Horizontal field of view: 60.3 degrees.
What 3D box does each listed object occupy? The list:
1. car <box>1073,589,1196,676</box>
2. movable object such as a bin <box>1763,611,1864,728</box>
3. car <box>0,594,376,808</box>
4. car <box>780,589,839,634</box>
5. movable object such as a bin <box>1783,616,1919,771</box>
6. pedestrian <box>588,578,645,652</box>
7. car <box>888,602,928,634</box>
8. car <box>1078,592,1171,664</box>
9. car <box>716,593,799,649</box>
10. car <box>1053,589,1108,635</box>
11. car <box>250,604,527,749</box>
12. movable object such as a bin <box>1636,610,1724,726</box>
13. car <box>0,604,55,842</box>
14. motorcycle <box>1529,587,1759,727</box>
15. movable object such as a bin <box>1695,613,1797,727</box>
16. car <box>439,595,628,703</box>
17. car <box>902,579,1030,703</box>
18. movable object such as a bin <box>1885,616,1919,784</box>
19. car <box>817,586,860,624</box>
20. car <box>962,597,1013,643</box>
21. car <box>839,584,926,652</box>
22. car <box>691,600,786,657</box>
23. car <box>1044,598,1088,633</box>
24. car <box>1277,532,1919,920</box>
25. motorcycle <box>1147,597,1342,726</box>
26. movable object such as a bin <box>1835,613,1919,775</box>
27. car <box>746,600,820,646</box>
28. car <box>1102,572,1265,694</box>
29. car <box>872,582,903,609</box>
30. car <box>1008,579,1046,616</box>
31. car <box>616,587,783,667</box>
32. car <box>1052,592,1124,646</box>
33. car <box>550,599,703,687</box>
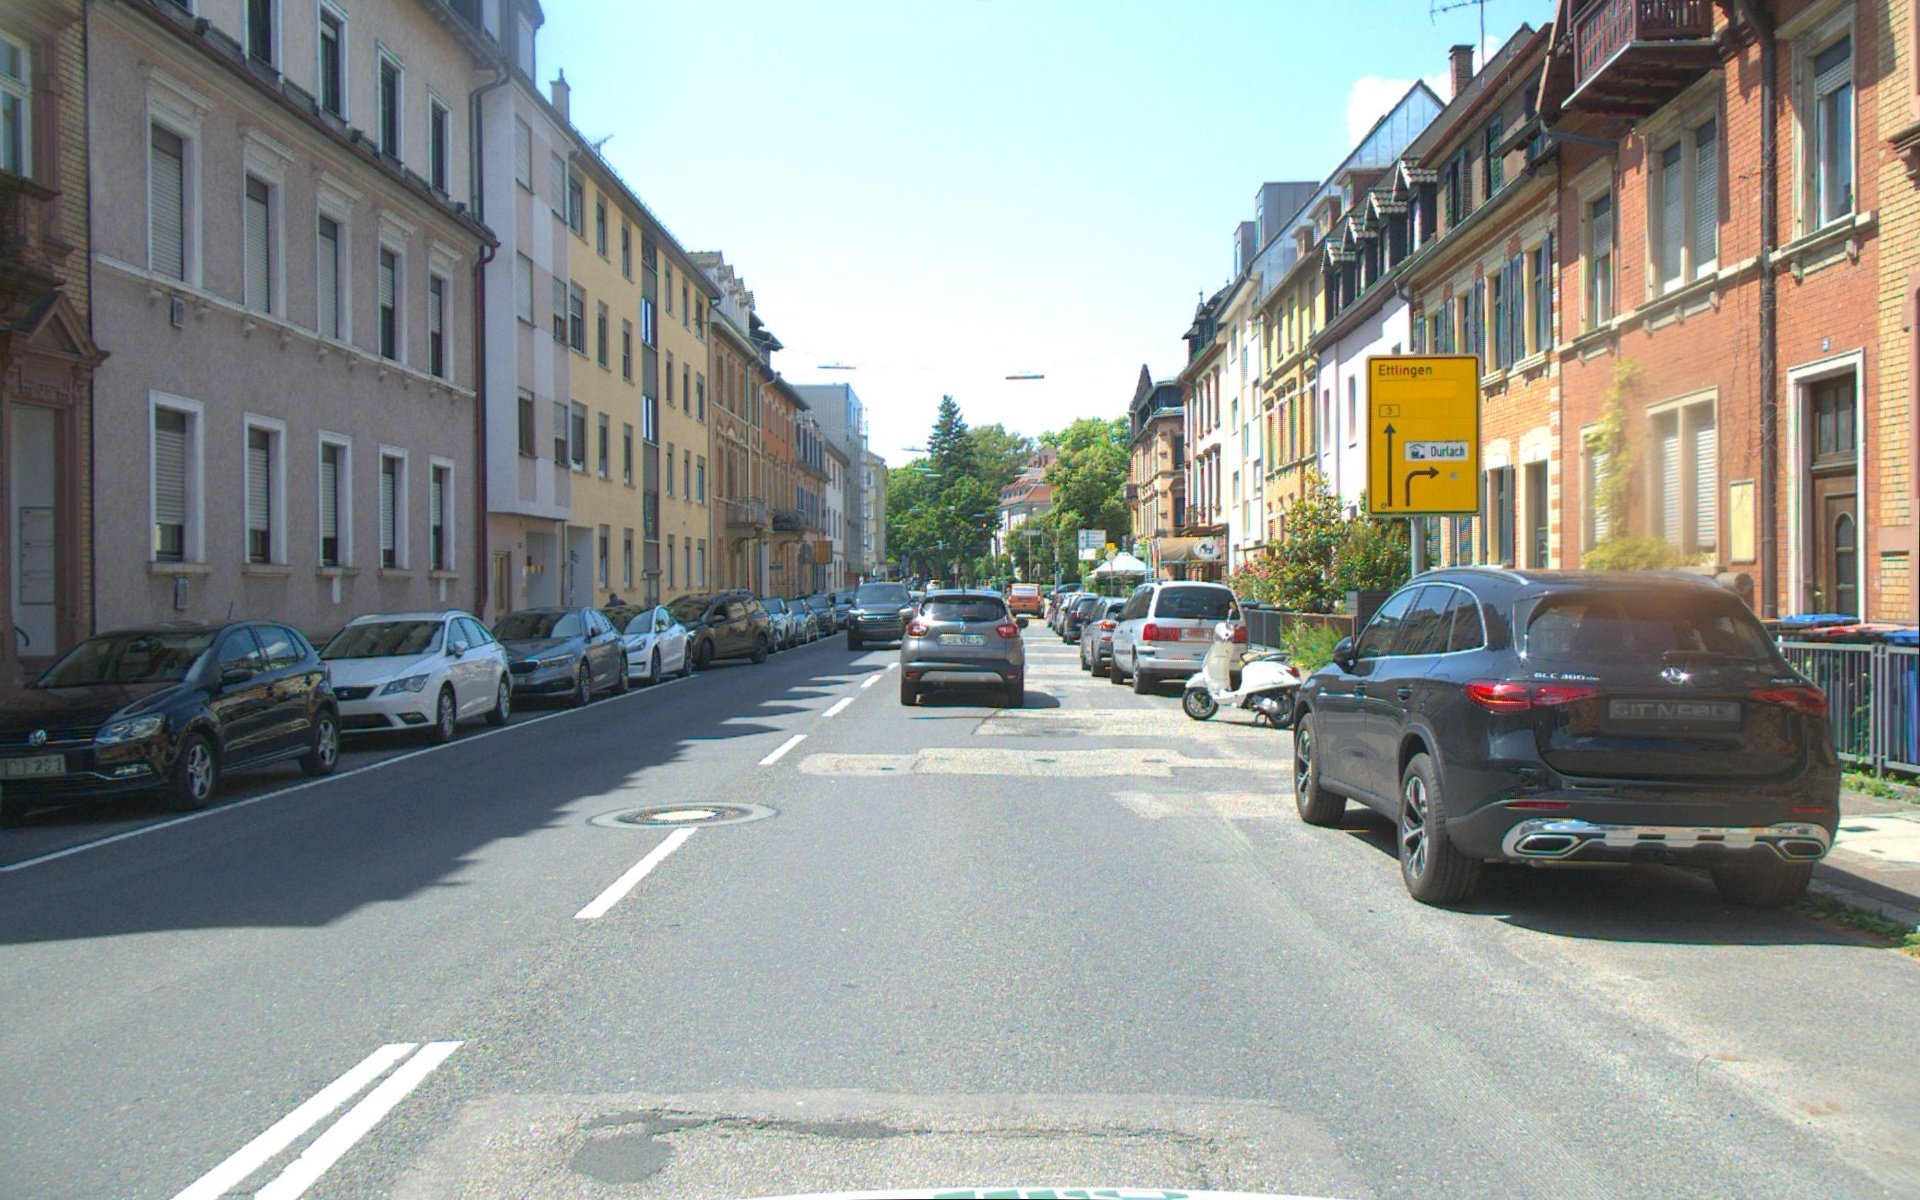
[{"bbox_3d":[3.338,0.586,32.396,1.823,1.513,4.308,2,0,-1],"label":"car"},{"bbox_3d":[8.244,0.655,15.991,0.596,1.095,0.761,0,0,1],"label":"movable object such as a bin"},{"bbox_3d":[-6.679,0.746,13.890,1.802,1.447,4.503,-4,0,1],"label":"car"},{"bbox_3d":[-5.878,0.446,64.887,1.866,1.648,4.302,-2,0,0],"label":"car"},{"bbox_3d":[6.687,0.681,12.300,0.772,1.107,0.686,0,0,-3],"label":"movable object such as a bin"},{"bbox_3d":[-8.324,0.365,40.136,1.127,1.780,0.970,0,0,3],"label":"pedestrian"},{"bbox_3d":[-2.370,0.794,75.448,1.779,1.413,3.998,0,0,-2],"label":"car"},{"bbox_3d":[3.754,0.605,38.428,1.661,1.513,4.618,2,0,0],"label":"car"},{"bbox_3d":[-5.961,0.605,49.092,1.865,1.537,4.302,-2,0,0],"label":"car"},{"bbox_3d":[4.456,0.429,61.576,1.822,1.580,4.001,2,0,2],"label":"car"},{"bbox_3d":[-6.555,0.816,19.526,1.803,1.447,4.500,-2,0,-2],"label":"car"},{"bbox_3d":[6.962,0.645,16.018,0.545,1.094,0.727,0,0,1],"label":"movable object such as a bin"},{"bbox_3d":[-6.731,0.804,8.397,1.803,1.447,4.500,-4,0,-2],"label":"car"},{"bbox_3d":[7.427,0.606,18.036,2.085,1.433,0.937,-2,0,-1],"label":"motorcycle"},{"bbox_3d":[7.590,0.665,15.997,0.645,1.073,0.748,0,0,1],"label":"movable object such as a bin"},{"bbox_3d":[-6.426,0.702,25.459,1.803,1.447,4.644,-2,0,-2],"label":"car"},{"bbox_3d":[0.095,0.543,24.102,1.708,1.644,4.000,0,0,0],"label":"car"},{"bbox_3d":[6.732,0.661,11.074,0.772,1.107,0.543,0,0,-3],"label":"movable object such as a bin"},{"bbox_3d":[-5.551,0.243,76.102,1.867,1.648,4.299,-2,0,-3],"label":"car"},{"bbox_3d":[1.007,0.743,63.493,1.775,1.649,4.440,-1,0,-1],"label":"car"},{"bbox_3d":[-2.149,0.487,47.192,1.952,1.823,5.150,-1,0,3],"label":"car"},{"bbox_3d":[-5.851,0.733,44.178,1.865,1.403,4.062,-2,0,1],"label":"car"},{"bbox_3d":[4.591,0.660,71.914,1.579,1.468,3.435,1,0,-2],"label":"car"},{"bbox_3d":[3.247,0.558,9.569,1.952,1.691,4.625,0,0,0],"label":"car"},{"bbox_3d":[3.327,0.692,19.384,1.958,1.410,1.107,1,-1,39],"label":"motorcycle"},{"bbox_3d":[6.706,0.647,11.656,0.772,1.107,0.553,0,0,-3],"label":"movable object such as a bin"},{"bbox_3d":[-5.874,0.730,55.289,1.865,1.425,4.755,-2,0,1],"label":"car"},{"bbox_3d":[3.560,0.486,27.141,1.823,1.778,4.616,2,0,-2],"label":"car"},{"bbox_3d":[-5.106,-0.331,116.455,1.865,1.853,4.303,0,0,2],"label":"car"},{"bbox_3d":[3.806,-0.134,93.097,1.951,2.049,4.468,0,0,4],"label":"car"},{"bbox_3d":[-5.821,0.566,37.601,1.864,1.666,4.560,-2,0,18],"label":"car"},{"bbox_3d":[3.862,0.551,50.702,1.822,1.490,4.618,2,0,0],"label":"car"},{"bbox_3d":[-6.199,0.762,31.240,1.802,1.447,4.558,-3,0,1],"label":"car"}]
